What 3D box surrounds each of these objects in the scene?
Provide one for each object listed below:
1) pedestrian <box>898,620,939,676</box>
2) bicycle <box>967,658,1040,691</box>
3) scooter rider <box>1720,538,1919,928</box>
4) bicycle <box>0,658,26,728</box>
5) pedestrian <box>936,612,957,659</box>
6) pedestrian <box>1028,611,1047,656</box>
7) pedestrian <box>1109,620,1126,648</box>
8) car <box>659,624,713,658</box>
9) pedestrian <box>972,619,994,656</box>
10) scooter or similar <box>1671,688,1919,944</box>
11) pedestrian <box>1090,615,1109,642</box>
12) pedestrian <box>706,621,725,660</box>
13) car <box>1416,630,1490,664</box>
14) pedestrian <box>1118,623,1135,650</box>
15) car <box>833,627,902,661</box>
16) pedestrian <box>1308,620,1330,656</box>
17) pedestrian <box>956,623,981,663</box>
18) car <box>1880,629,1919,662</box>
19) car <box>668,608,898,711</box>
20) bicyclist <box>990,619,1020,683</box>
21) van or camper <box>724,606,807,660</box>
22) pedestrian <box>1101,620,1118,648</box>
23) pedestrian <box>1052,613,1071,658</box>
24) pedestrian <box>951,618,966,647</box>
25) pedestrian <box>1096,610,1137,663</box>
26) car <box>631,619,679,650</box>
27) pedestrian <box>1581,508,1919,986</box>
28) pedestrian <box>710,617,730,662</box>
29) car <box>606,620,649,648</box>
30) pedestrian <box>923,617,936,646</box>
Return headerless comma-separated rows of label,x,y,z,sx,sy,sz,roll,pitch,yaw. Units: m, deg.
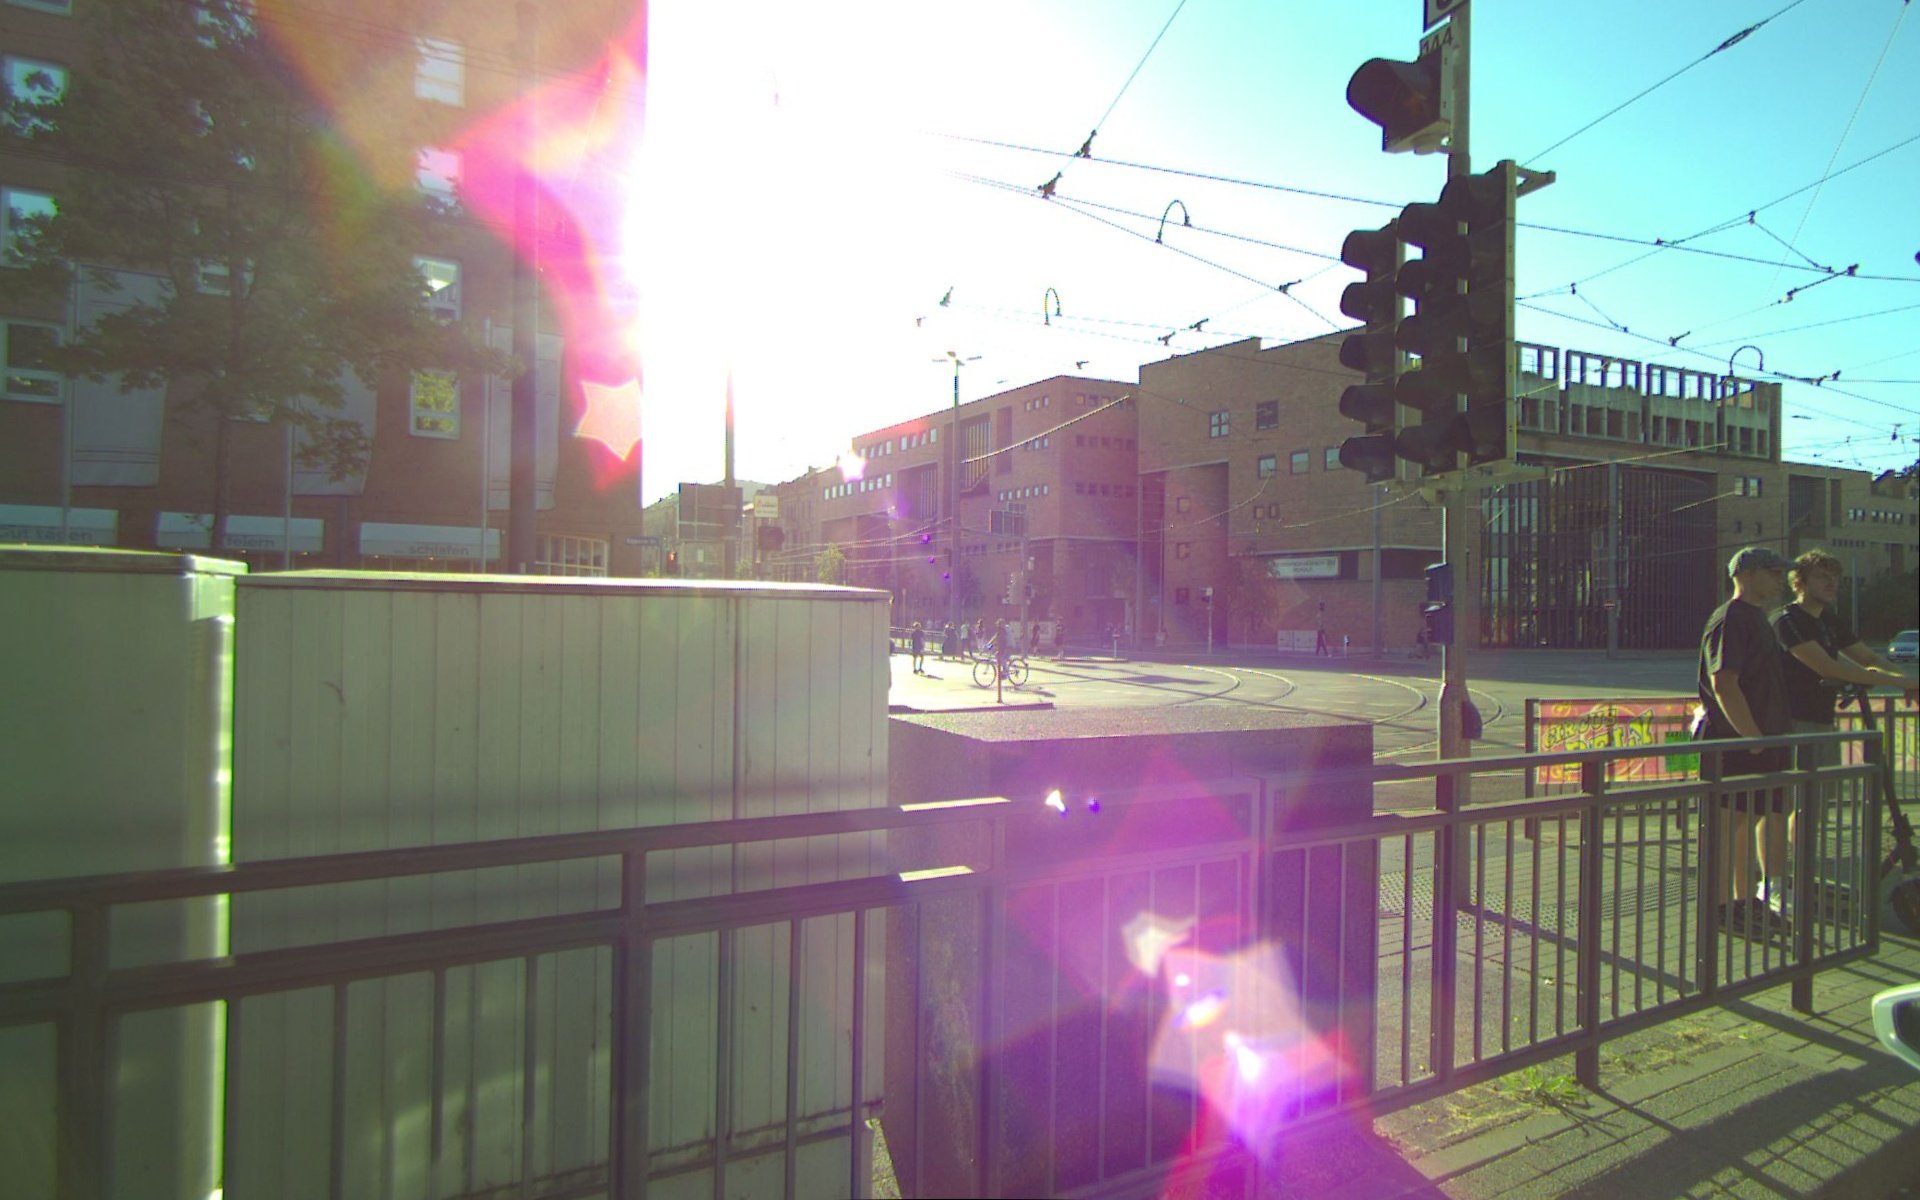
pedestrian,-1.395,1.615,34.175,0.942,1.822,0.989,2,0,38
bicycle,1.138,1.926,26.097,1.948,0.781,0.586,1,-2,-36
scooter rider,4.475,0.657,5.241,0.670,1.877,0.564,3,-2,-25
bicycle,-15.809,1.440,15.455,1.993,1.064,0.647,2,-1,-35
pedestrian,-0.600,1.566,44.610,0.725,2.040,0.608,1,-1,-34
pedestrian,3.580,1.554,46.201,0.603,2.040,0.731,0,-1,30
pedestrian,11.795,2.557,75.203,0.841,2.079,1.001,1,-1,-32
car,-15.019,2.215,54.995,1.739,1.750,3.963,1,-2,-33
pedestrian,1.112,1.800,48.430,0.860,1.775,0.670,1,-2,-39
scooter or similar,4.492,1.044,5.176,0.639,1.095,1.199,1,-1,-25
pedestrian,10.464,2.152,75.244,0.902,2.040,1.151,1,-1,-34
pedestrian,-11.597,1.929,47.678,0.597,1.843,0.848,1,-1,-38
car,30.371,2.871,61.913,4.136,2.040,1.987,1,-2,-26
pedestrian,12.691,2.777,76.737,0.841,2.079,1.001,1,-1,-32
car,-4.801,2.236,51.814,1.978,1.709,3.965,1,-2,-33
pedestrian,19.367,2.063,54.212,0.866,1.927,0.718,2,0,-33
pedestrian,0.383,1.899,44.443,0.857,1.775,0.672,1,-1,-30
car,48.961,2.315,51.703,3.962,1.598,1.610,1,-2,-36
car,-3.358,1.103,19.124,3.949,1.785,1.861,1,-2,-27
bicyclist,1.171,1.320,26.123,0.509,1.647,0.583,1,-1,-36
van or camper,-9.326,1.565,47.885,1.981,2.451,4.980,1,-2,-36
pedestrian,11.331,2.552,76.012,0.841,2.079,1.001,1,-1,-32
pedestrian,4.567,1.601,45.380,0.603,2.040,0.731,0,-1,30
pedestrian,-0.123,2.230,69.060,0.742,2.010,0.780,1,-1,-32
pedestrian,6.217,1.452,39.880,1.193,2.040,1.028,2,0,-30
car,-18.253,2.041,59.986,1.738,1.750,3.965,1,-2,-32
pedestrian,3.771,0.605,4.735,0.843,1.908,1.164,1,-1,-25
pedestrian,-10.929,1.784,45.747,0.597,2.040,0.848,1,-1,-38
car,-21.512,2.194,64.974,1.738,1.750,3.965,1,-2,-32
pedestrian,-2.160,2.251,70.914,0.644,2.040,0.780,1,-1,-32
